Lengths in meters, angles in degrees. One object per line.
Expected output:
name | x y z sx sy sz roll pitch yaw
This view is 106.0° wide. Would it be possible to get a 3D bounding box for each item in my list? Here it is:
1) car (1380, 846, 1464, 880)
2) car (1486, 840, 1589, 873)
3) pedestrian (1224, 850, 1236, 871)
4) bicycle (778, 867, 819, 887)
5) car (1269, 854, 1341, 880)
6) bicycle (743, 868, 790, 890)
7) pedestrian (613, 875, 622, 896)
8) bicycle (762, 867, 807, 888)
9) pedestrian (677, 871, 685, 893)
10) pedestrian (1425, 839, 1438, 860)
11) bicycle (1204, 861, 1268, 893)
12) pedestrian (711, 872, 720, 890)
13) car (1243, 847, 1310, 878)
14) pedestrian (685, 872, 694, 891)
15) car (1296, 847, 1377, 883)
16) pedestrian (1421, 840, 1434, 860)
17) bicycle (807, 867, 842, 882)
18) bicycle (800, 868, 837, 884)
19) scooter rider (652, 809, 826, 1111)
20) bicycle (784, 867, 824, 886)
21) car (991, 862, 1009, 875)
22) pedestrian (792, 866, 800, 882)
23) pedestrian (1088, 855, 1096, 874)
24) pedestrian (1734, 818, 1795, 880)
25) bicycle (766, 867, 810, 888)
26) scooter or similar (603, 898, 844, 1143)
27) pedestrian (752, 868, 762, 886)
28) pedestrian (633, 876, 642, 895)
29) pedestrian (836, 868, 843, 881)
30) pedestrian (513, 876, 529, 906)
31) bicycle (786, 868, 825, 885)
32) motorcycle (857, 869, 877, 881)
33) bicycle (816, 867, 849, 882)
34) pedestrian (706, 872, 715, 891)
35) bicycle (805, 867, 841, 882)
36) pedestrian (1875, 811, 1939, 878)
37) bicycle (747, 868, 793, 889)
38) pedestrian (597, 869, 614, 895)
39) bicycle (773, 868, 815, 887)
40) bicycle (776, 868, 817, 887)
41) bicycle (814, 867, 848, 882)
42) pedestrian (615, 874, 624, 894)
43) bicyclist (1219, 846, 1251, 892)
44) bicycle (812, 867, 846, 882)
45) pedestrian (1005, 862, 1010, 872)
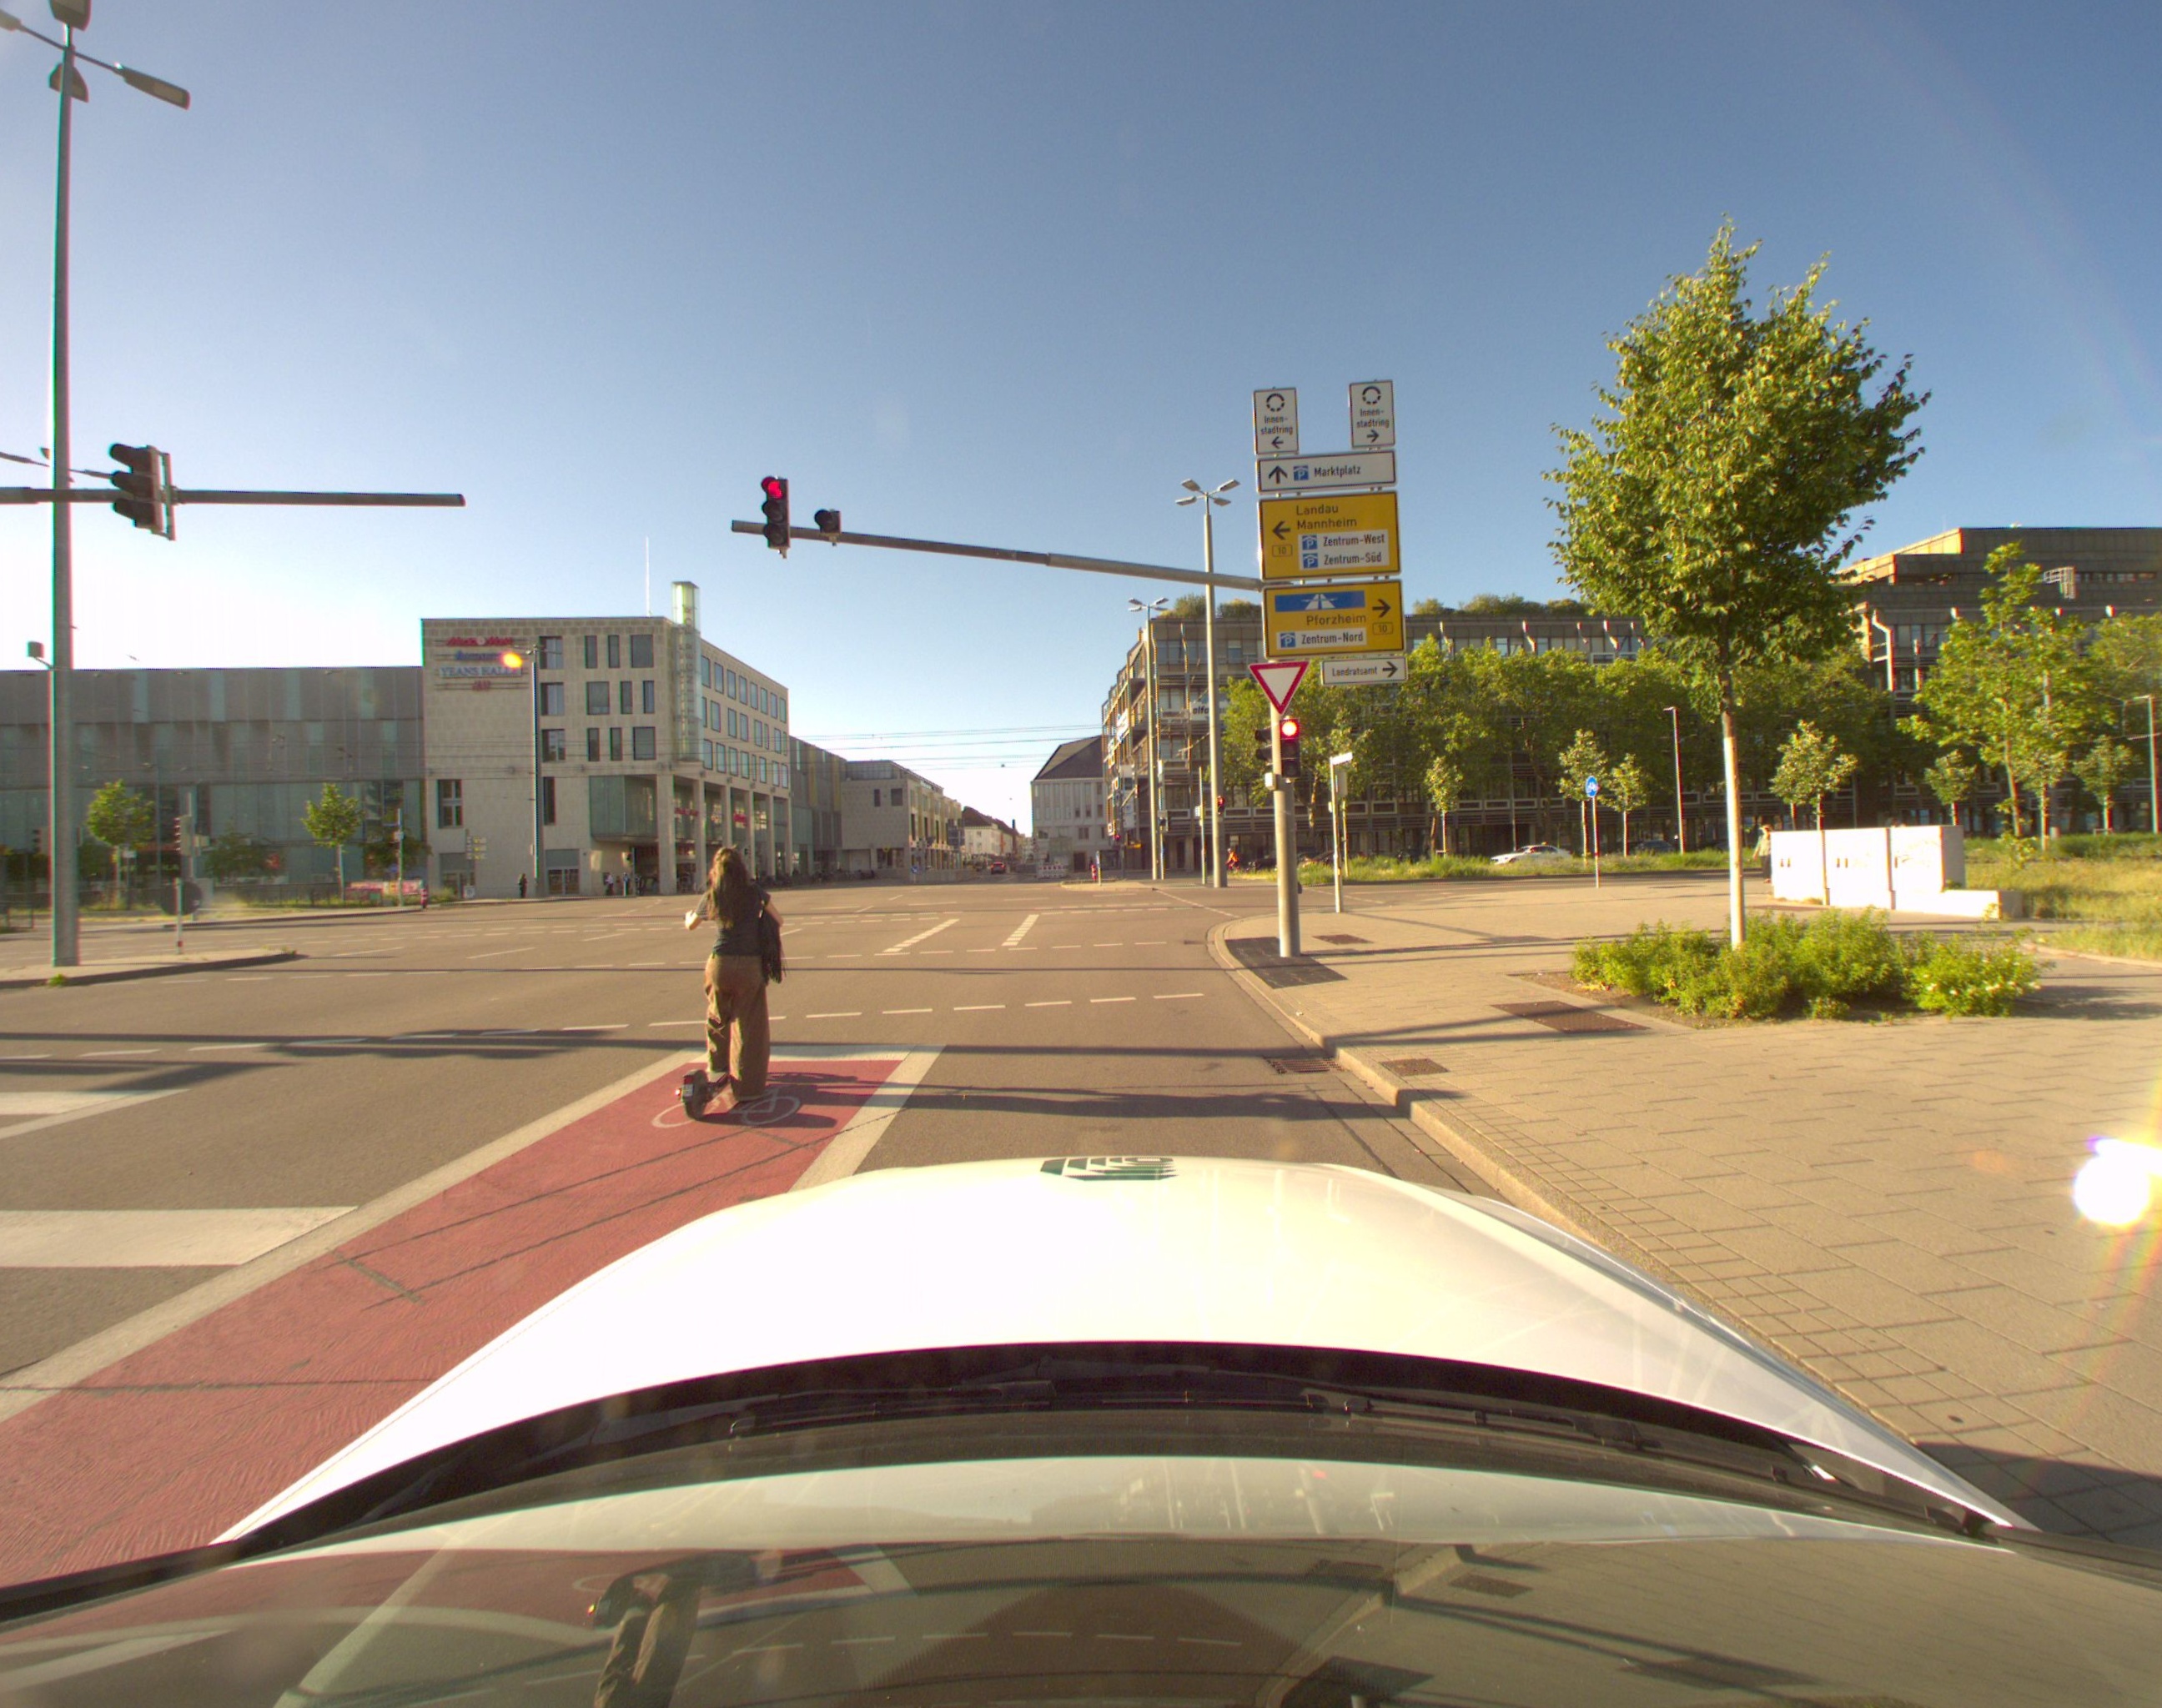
car | 21.404 0.557 51.249 4.435 2.014 1.998 0 -1 -4
car | 28.892 0.139 51.655 5.424 2.014 2.097 0 -1 -1
pedestrian | 12.088 0.552 65.995 0.728 1.658 0.649 -2 0 -5
bicycle | -27.046 2.208 78.068 3.491 1.696 0.984 -2 0 -10
car | 13.850 0.778 50.477 3.976 1.508 1.867 -1 0 -2
bicycle | -26.734 2.095 69.295 3.488 1.696 1.114 -2 0 -7
pedestrian | -36.170 2.447 63.569 0.420 1.565 0.457 -2 0 2
bicycle | -26.146 2.068 71.956 3.488 1.696 1.114 -2 0 -7
pedestrian | -30.347 2.148 61.796 0.543 1.642 0.546 -2 0 -26
pedestrian | 28.029 -0.334 65.158 0.662 1.658 0.739 -2 0 -5
bicycle | 8.925 1.311 47.068 3.488 1.659 0.929 -2 0 -7
pedestrian | -32.183 2.384 71.716 0.480 1.510 0.513 -2 0 -3
car | 12.838 0.556 53.625 3.975 2.014 1.999 0 -1 -1
pedestrian | -33.685 2.390 70.044 0.480 1.585 0.598 -2 0 -3
car | 14.451 0.615 46.210 3.975 2.014 1.999 0 -1 -1
pedestrian | 28.057 -0.327 65.985 0.662 1.658 0.739 -2 0 -5
bicycle | -27.925 2.210 88.580 3.491 1.527 0.984 -2 0 -10
bicycle | -27.551 2.289 85.583 3.491 1.527 0.984 -2 0 -10
scooter rider | -2.155 0.630 5.235 0.726 1.775 0.811 -1 0 1
bicycle | -27.251 2.232 80.164 3.491 1.696 0.984 -2 0 -10
car | -10.794 1.880 108.863 2.195 1.607 4.320 -2 0 -4
pedestrian | -30.106 2.128 85.985 0.652 1.642 0.693 -2 0 -7
pedestrian | 0.939 0.902 69.778 0.661 1.658 0.755 -2 0 -1
pedestrian | 18.668 -0.129 22.253 0.801 1.630 0.939 -2 0 -12
bicycle | -26.322 2.113 73.176 3.488 1.696 1.114 -2 0 -7
scooter or similar | -2.145 0.930 5.164 0.725 1.202 1.665 -1 0 2
pedestrian | -30.245 2.150 76.079 0.788 1.642 0.689 -2 0 -27
pedestrian | -34.844 2.450 63.978 0.386 1.426 0.501 -2 0 -7
pedestrian | -30.389 2.572 102.404 0.696 1.642 0.693 -2 0 -6
pedestrian | -32.547 2.148 47.351 0.525 1.694 0.546 -2 0 -8
bicycle | -27.412 2.224 81.161 3.491 1.527 0.984 -2 0 -10
motorcycle | -25.971 2.533 98.867 2.269 1.318 0.719 -2 0 -4
bicycle | -28.292 2.327 92.780 3.491 1.527 0.984 -2 0 -10
pedestrian | -32.285 2.401 70.955 0.480 1.585 0.513 -2 0 -3
bicycle | -27.656 2.210 87.451 3.491 1.527 0.984 -2 0 -10
pedestrian | 21.997 -0.259 21.705 0.694 1.728 0.939 -2 0 -12
bicycle | -26.911 2.096 70.484 3.488 1.696 1.114 -2 0 -7
pedestrian | -34.148 1.982 58.468 0.755 1.798 0.736 -2 0 -3
bicycle | -26.682 2.179 75.763 3.491 1.696 0.984 -2 0 -10
bicycle | -26.858 2.197 76.859 3.491 1.696 0.984 -2 0 -10
bicycle | -28.175 2.290 91.750 3.491 1.527 0.984 -2 0 -10
pedestrian | -35.993 2.346 63.487 0.421 1.565 0.456 -2 0 -6
bicyclist | 8.884 0.851 47.072 1.566 2.580 0.929 -2 0 -7
bicycle | -27.933 2.248 90.357 3.491 1.527 0.984 -2 0 -10
pedestrian | -9.767 1.732 108.848 0.608 1.411 0.569 -2 0 -5
